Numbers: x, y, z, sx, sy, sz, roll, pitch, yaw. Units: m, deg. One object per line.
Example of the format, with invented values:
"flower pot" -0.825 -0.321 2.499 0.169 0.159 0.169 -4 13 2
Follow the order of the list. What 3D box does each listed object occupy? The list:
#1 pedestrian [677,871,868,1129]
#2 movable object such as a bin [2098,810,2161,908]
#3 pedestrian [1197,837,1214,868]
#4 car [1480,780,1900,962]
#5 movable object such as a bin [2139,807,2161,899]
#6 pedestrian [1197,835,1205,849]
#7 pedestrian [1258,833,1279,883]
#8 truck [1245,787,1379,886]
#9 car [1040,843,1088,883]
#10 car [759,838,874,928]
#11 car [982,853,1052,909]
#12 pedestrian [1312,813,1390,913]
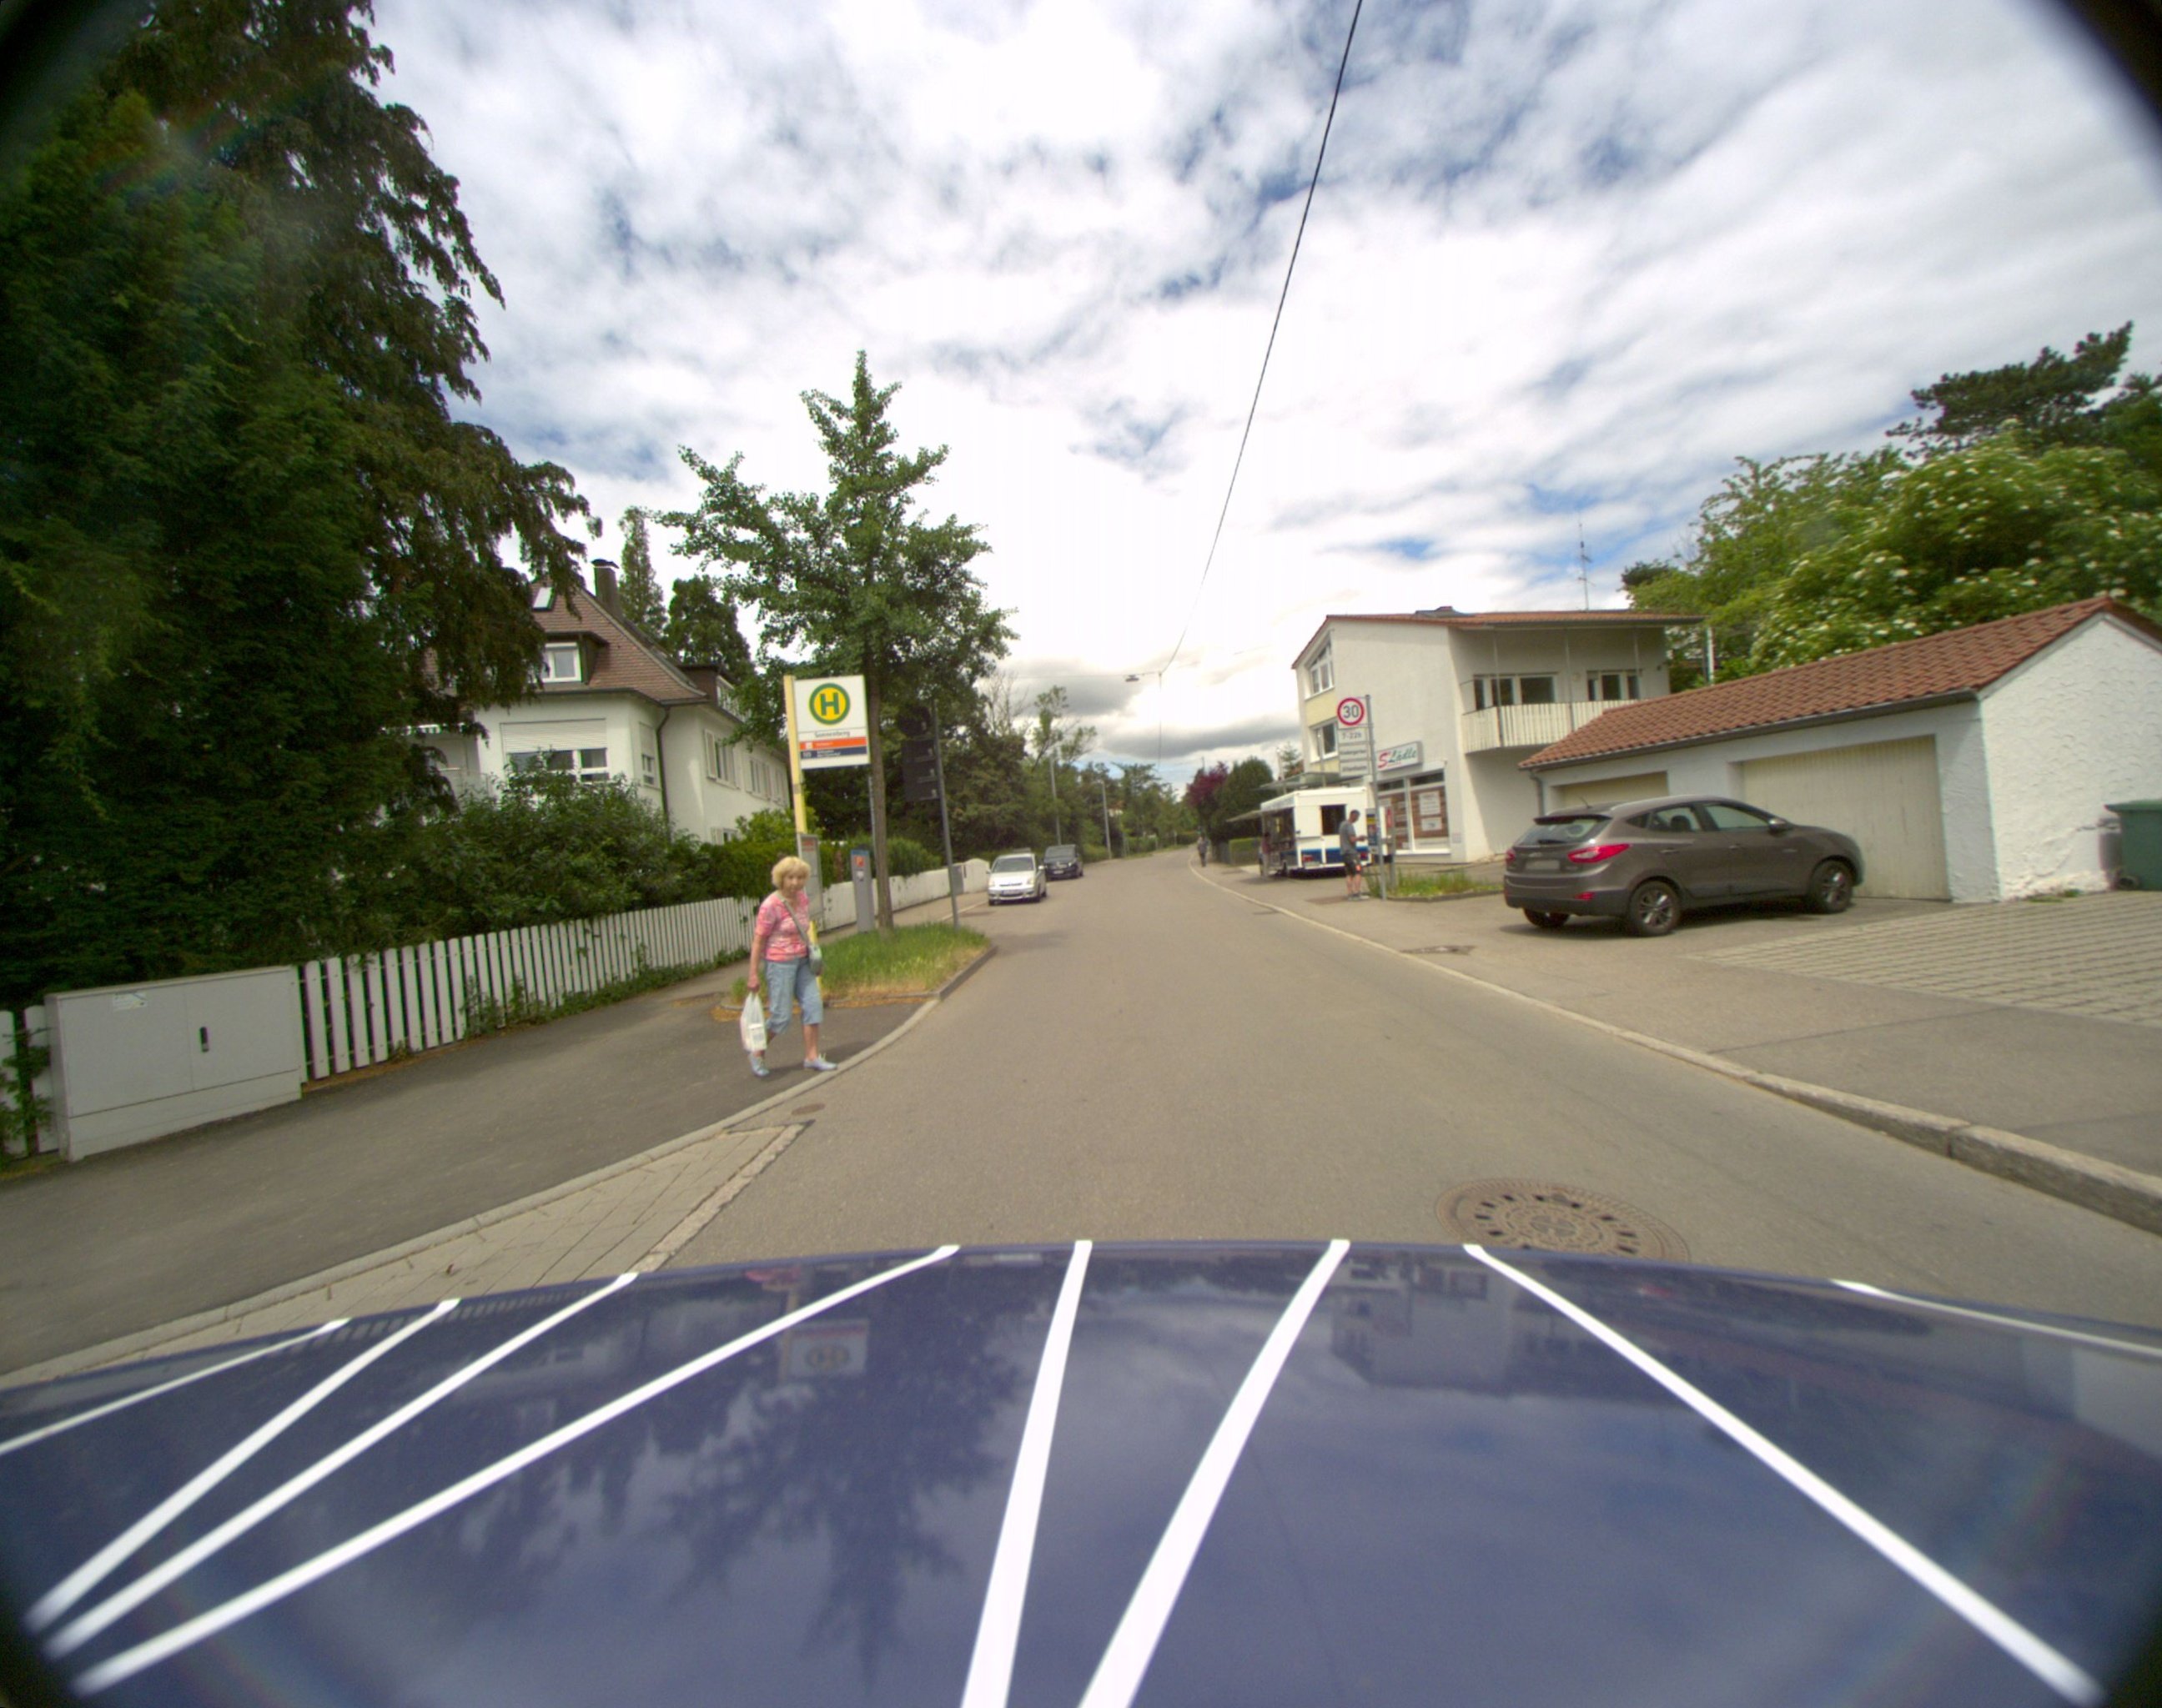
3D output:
"pedestrian" -2.169 0.984 5.474 0.856 1.636 0.884 -4 1 3
"movable object such as a bin" 12.631 0.044 8.827 0.689 1.077 0.704 -7 1 -12
"pedestrian" 7.307 -0.097 44.481 0.724 1.678 1.109 -7 4 6
"car" 7.902 0.169 10.043 4.325 1.686 1.796 -7 1 -9
"movable object such as a bin" 13.322 -0.032 8.977 0.689 1.077 0.692 -7 1 -12
"pedestrian" 15.261 -1.553 96.669 0.821 1.734 0.604 -7 1 11
"pedestrian" 6.502 0.132 26.375 0.402 1.685 0.597 -7 1 0
"truck" 7.821 -0.584 26.720 2.479 2.824 6.706 -5 1 0
"car" -0.831 0.435 41.732 1.913 1.838 5.158 -5 1 5
"car" -9.329 0.947 27.373 2.505 2.666 5.183 -7 1 -6
"car" -2.041 0.833 25.331 1.763 1.573 4.018 -3 1 2
"pedestrian" 5.688 0.183 16.035 1.216 1.935 0.735 -7 1 5
